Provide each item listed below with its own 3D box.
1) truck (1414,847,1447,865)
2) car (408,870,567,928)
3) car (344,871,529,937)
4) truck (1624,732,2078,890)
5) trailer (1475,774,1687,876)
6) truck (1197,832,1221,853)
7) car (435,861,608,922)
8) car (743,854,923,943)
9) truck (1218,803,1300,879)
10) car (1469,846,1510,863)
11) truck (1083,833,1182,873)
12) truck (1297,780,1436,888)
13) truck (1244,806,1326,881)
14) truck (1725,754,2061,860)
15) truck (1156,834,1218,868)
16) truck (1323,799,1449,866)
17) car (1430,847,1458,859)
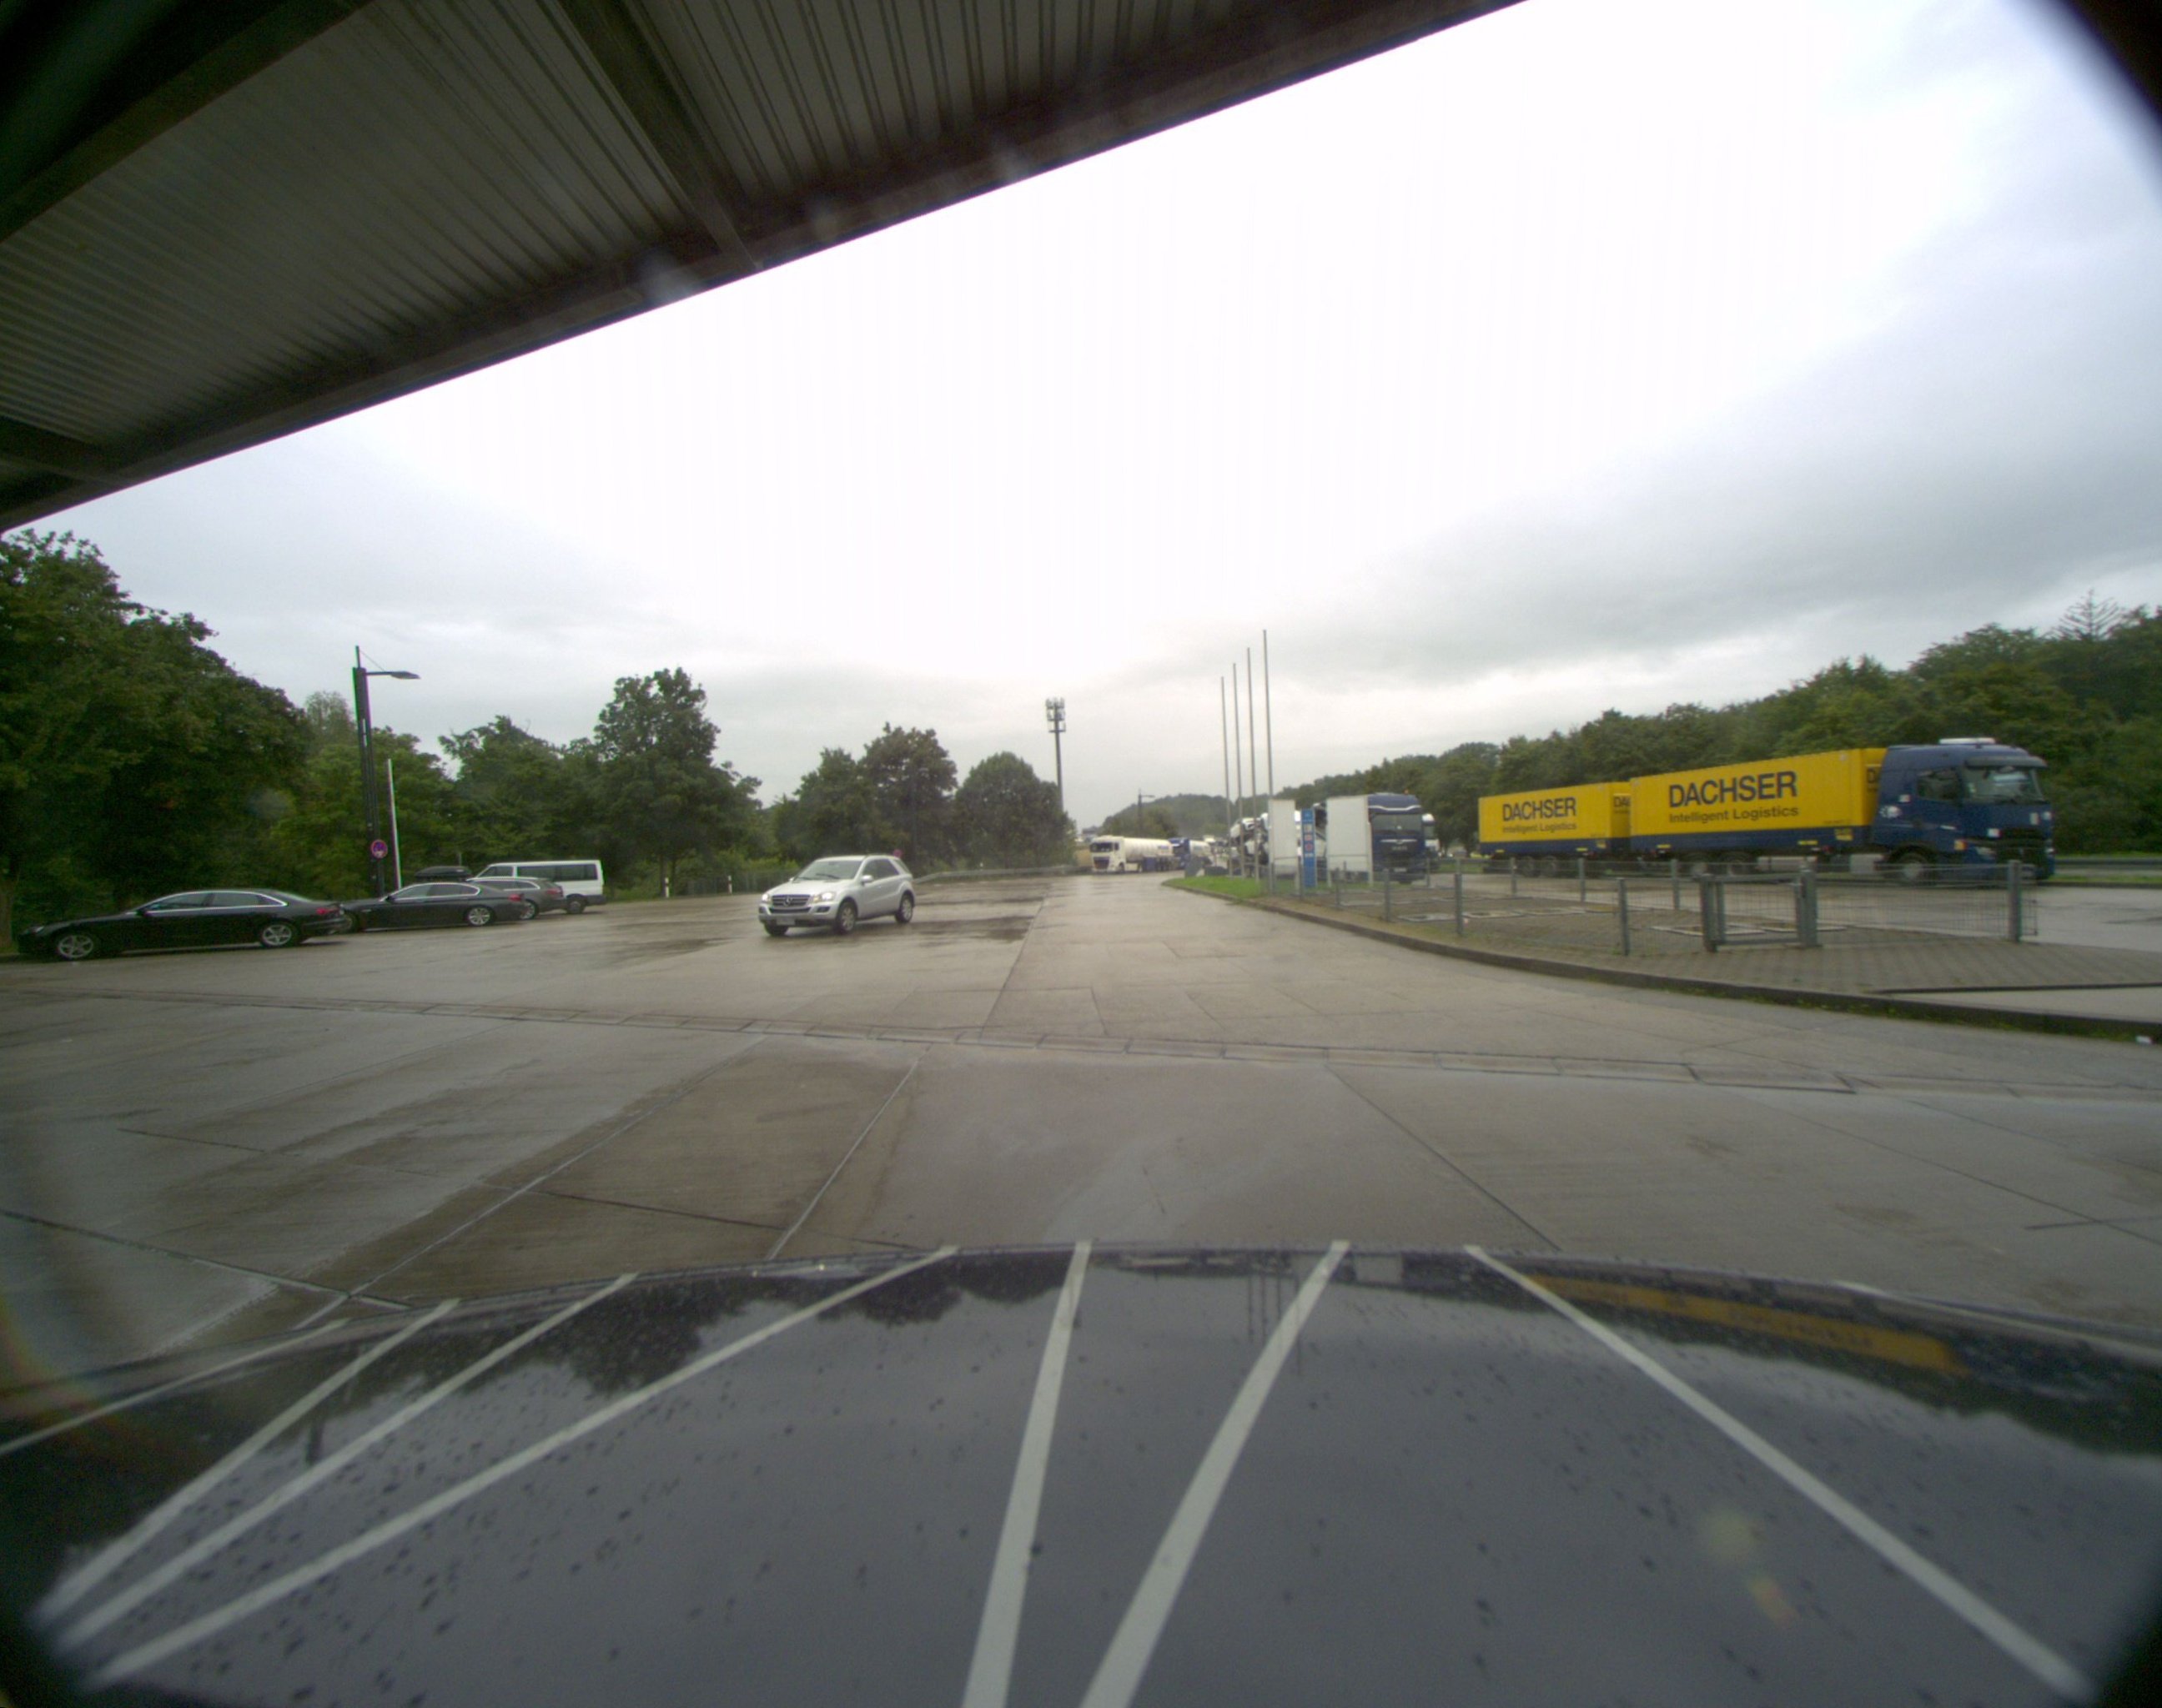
[{"bbox_3d":[48.178,0.269,104.958,1.730,2.252,4.633,-2,1,-10],"label":"truck"},{"bbox_3d":[-19.475,1.432,25.168,4.007,1.650,1.596,-2,0,-35],"label":"car"},{"bbox_3d":[-18.879,1.399,22.516,4.007,1.650,1.596,-2,0,-35],"label":"car"},{"bbox_3d":[23.150,-1.126,24.338,2.757,3.894,10.678,-2,1,-8],"label":"truck"},{"bbox_3d":[21.788,-1.182,33.959,2.757,3.894,8.700,-2,1,-9],"label":"trailer"},{"bbox_3d":[32.279,-2.888,191.961,3.145,5.092,11.515,-2,1,-5],"label":"truck"},{"bbox_3d":[-20.430,1.293,28.004,4.898,1.938,2.310,-2,0,-35],"label":"car"},{"bbox_3d":[-5.586,0.933,17.838,1.864,1.787,4.544,-2,0,13],"label":"car"},{"bbox_3d":[10.566,-0.724,45.790,2.665,4.157,6.618,-2,1,-6],"label":"truck"},{"bbox_3d":[47.027,0.057,87.575,1.891,1.748,3.994,-2,1,-16],"label":"car"},{"bbox_3d":[5.447,-0.159,75.219,3.505,3.584,14.426,-2,0,31],"label":"truck"},{"bbox_3d":[12.180,-0.794,33.191,2.665,4.157,7.103,-2,0,-6],"label":"truck"},{"bbox_3d":[11.042,-0.556,41.599,2.665,3.750,4.747,-2,1,-6],"label":"truck"},{"bbox_3d":[33.907,-1.759,32.725,2.421,3.785,10.223,-2,1,-10],"label":"truck"},{"bbox_3d":[12.774,-0.402,89.701,3.506,3.584,14.685,-2,0,23],"label":"truck"},{"bbox_3d":[19.878,-1.297,50.580,2.757,3.894,10.678,-2,1,-8],"label":"truck"},{"bbox_3d":[54.401,-0.181,113.995,1.704,1.684,3.995,-2,1,-13],"label":"car"}]
